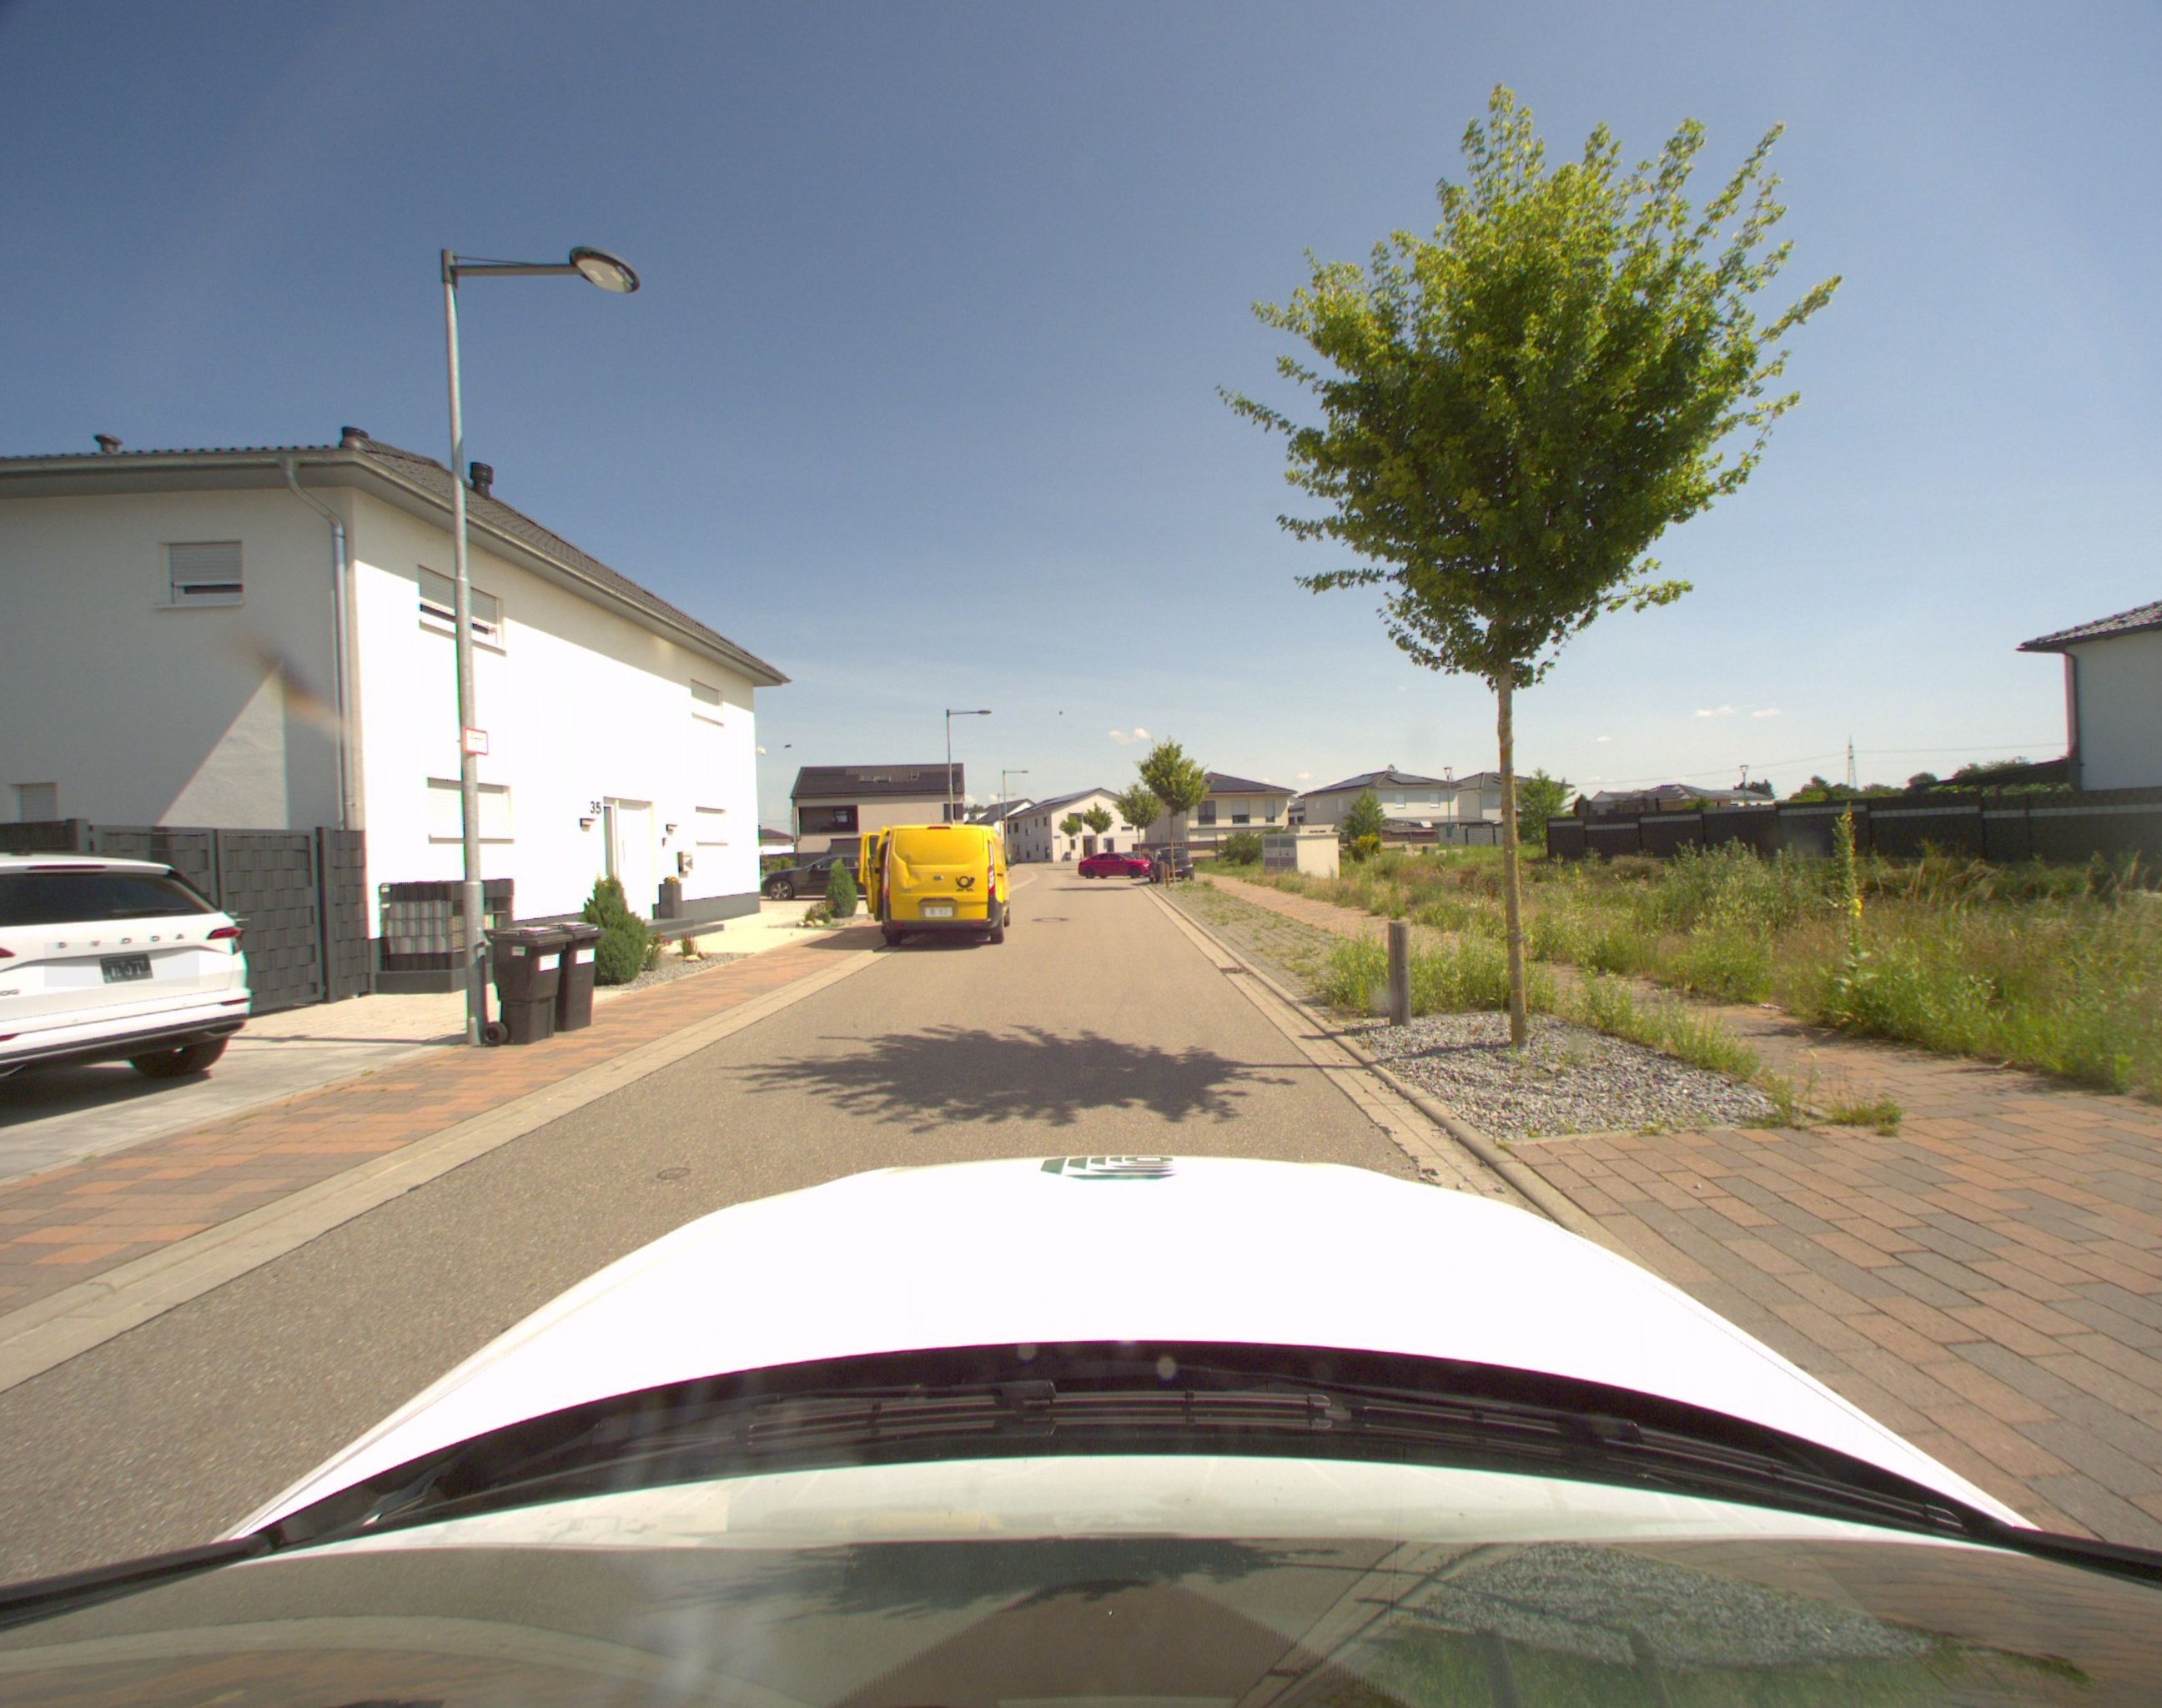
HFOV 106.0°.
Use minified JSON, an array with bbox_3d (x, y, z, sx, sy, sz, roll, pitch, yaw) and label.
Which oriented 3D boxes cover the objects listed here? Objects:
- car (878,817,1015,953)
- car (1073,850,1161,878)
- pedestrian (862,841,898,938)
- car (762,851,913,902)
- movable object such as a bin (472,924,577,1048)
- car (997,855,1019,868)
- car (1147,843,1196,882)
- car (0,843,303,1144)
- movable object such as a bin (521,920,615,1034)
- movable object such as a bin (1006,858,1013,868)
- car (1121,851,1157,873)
[{"bbox_3d":[-2.302,0.488,15.198,1.880,2.013,4.835,-4,0,-3],"label":"car"},{"bbox_3d":[1.939,0.536,44.310,4.462,1.438,1.779,-1,0,29],"label":"car"},{"bbox_3d":[-3.653,0.631,14.834,0.530,1.738,0.569,0,0,-6],"label":"pedestrian"},{"bbox_3d":[-7.525,0.660,25.592,4.397,1.452,1.741,-1,0,-13],"label":"car"},{"bbox_3d":[-4.607,1.077,6.766,0.484,0.925,0.530,-2,0,-2],"label":"movable object such as a bin"},{"bbox_3d":[-8.609,0.926,95.822,1.732,1.422,3.974,-3,0,-19],"label":"car"},{"bbox_3d":[3.803,0.338,34.845,1.593,1.475,3.674,-4,0,0],"label":"car"},{"bbox_3d":[-7.702,0.781,5.219,3.934,1.619,1.797,-1,0,7],"label":"car"},{"bbox_3d":[-4.595,1.083,7.314,0.484,0.925,0.530,-2,0,-2],"label":"movable object such as a bin"},{"bbox_3d":[-6.687,0.830,76.029,0.532,0.936,0.526,0,0,1],"label":"movable object such as a bin"},{"bbox_3d":[3.783,0.518,53.866,1.751,1.363,4.568,-1,0,-4],"label":"car"}]
